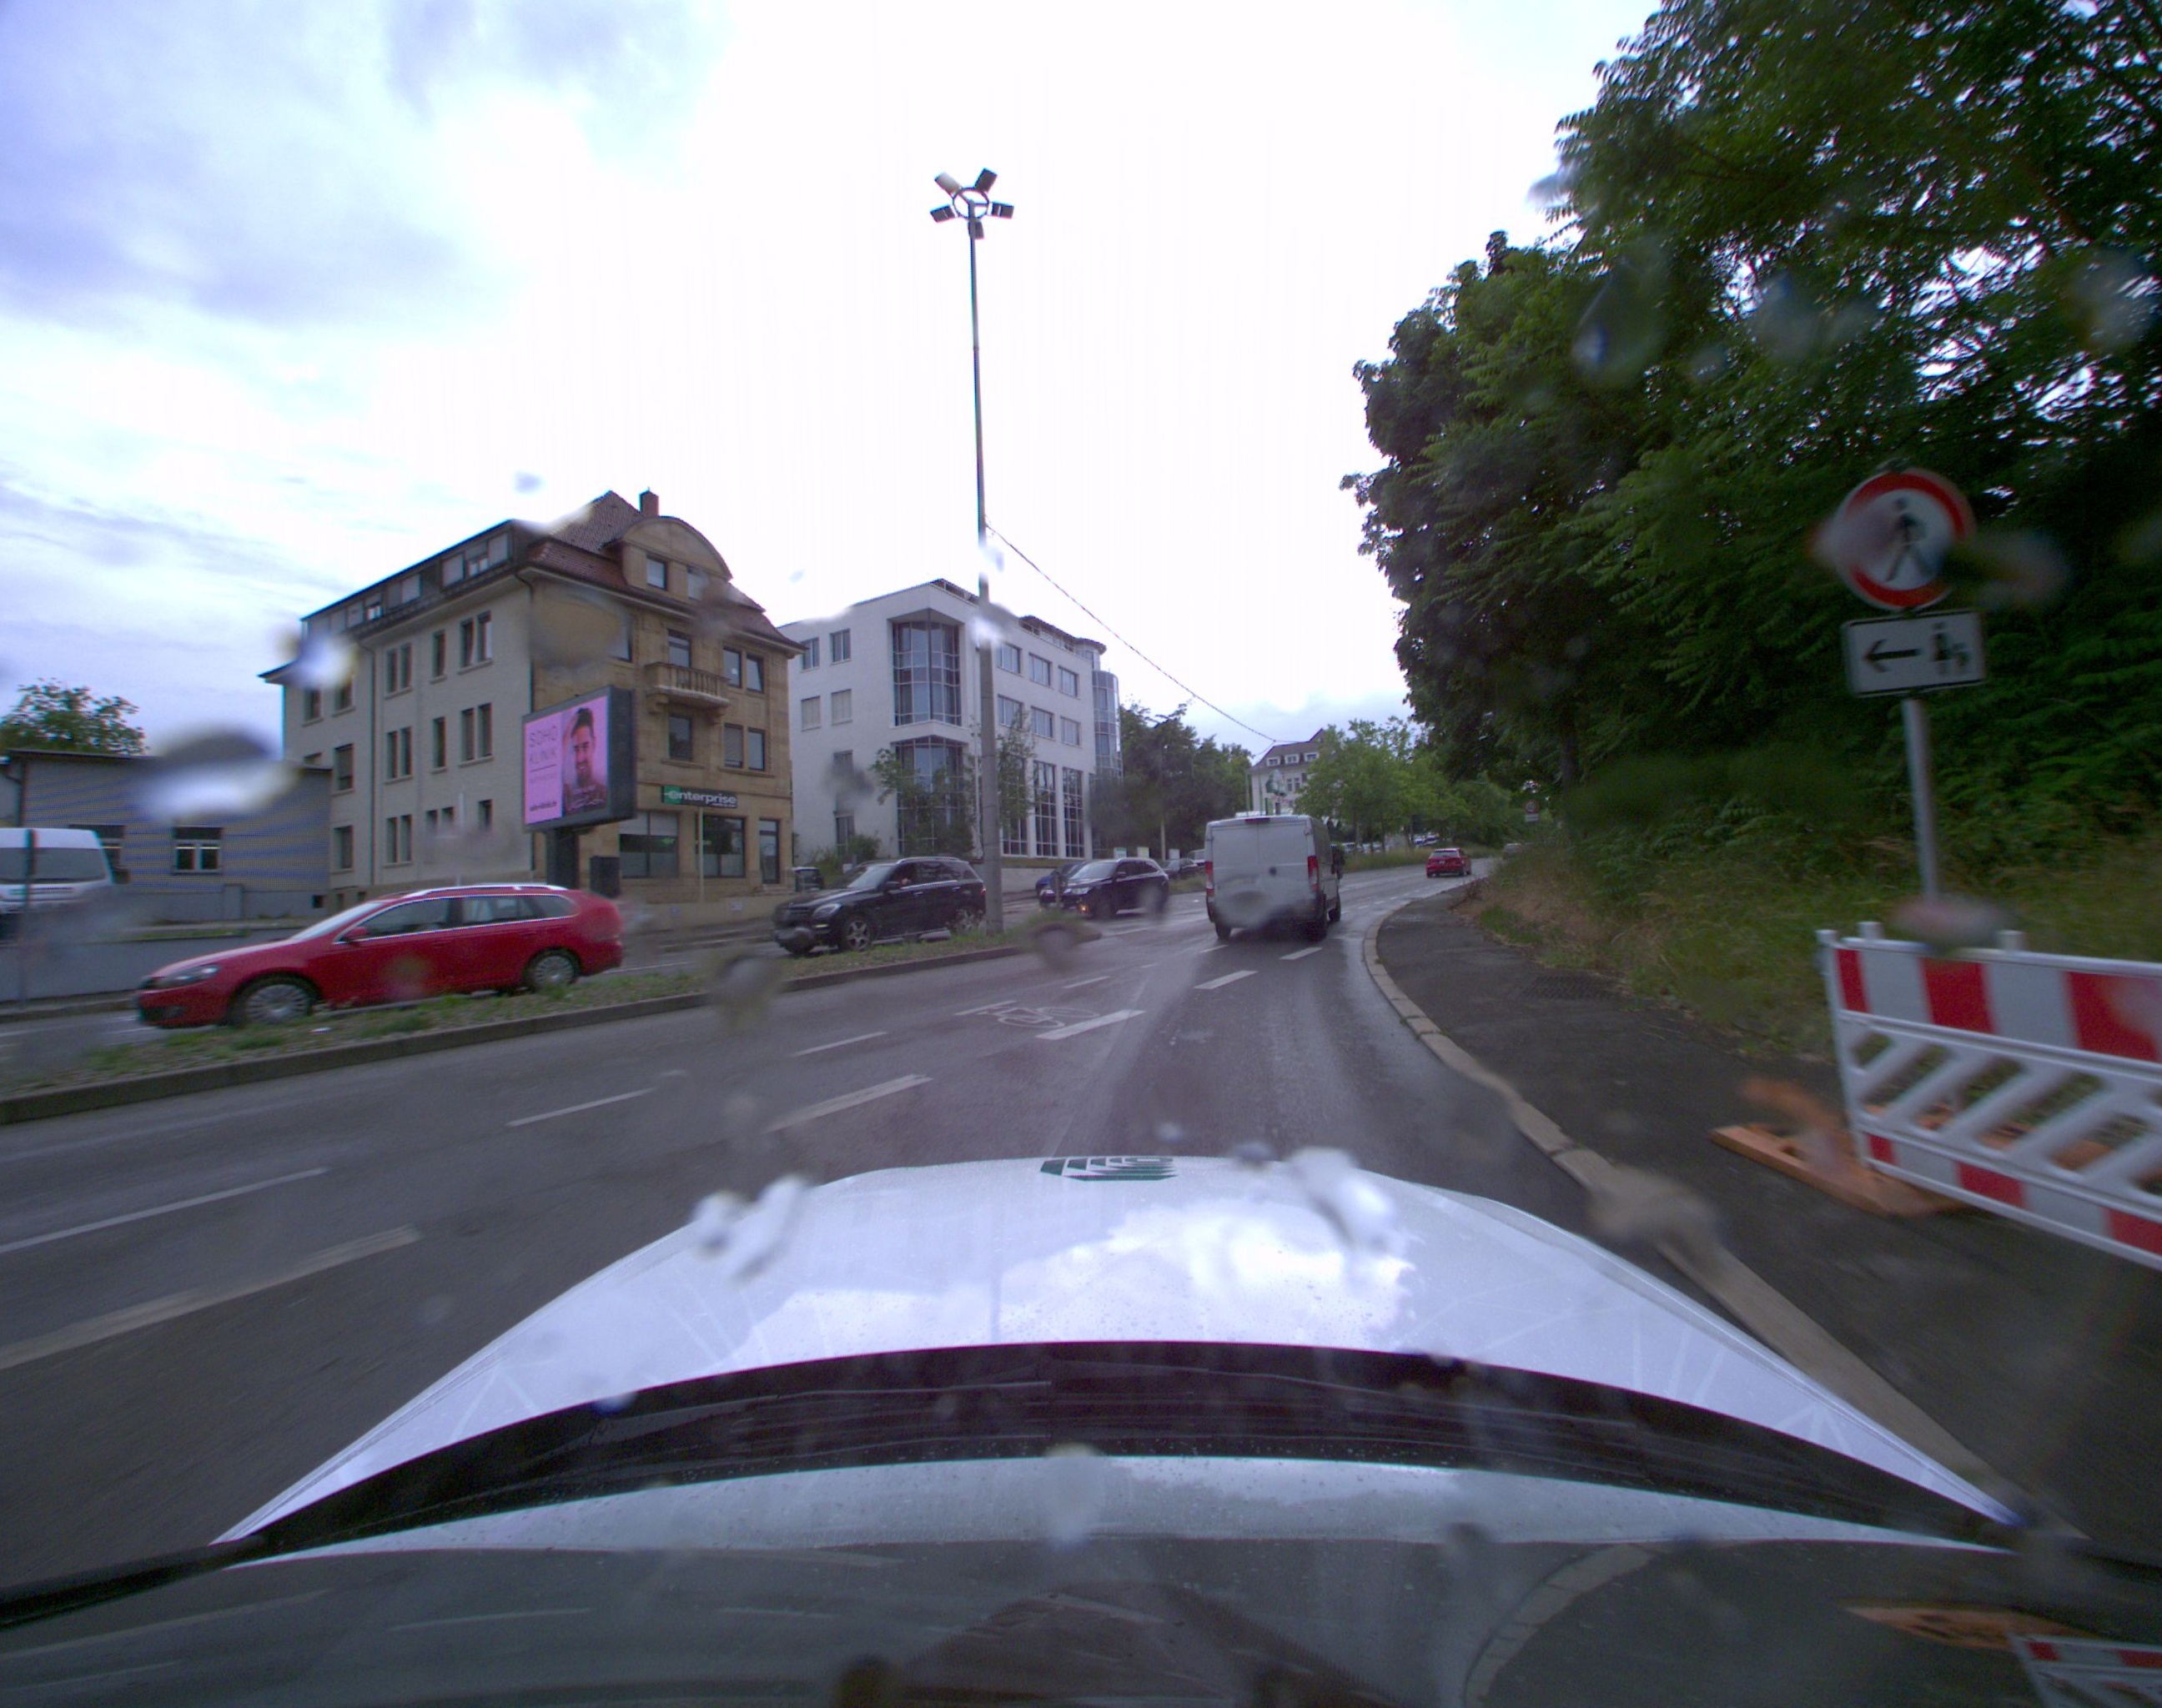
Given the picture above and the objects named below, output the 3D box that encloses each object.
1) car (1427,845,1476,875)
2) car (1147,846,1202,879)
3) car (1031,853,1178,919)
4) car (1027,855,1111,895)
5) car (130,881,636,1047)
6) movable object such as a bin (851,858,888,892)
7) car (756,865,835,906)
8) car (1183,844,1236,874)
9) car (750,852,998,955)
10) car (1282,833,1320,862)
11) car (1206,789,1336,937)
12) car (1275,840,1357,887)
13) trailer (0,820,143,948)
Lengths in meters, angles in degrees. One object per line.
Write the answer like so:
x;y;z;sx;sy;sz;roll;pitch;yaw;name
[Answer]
18.571;0.325;40.741;1.677;1.426;3.389;-3;-2;34;car
5.666;0.462;49.040;1.595;1.721;4.019;-5;-1;31;car
0.785;0.857;22.734;1.672;1.605;4.758;-5;-4;35;car
-0.490;0.972;39.034;1.672;1.534;4.702;-5;0;31;car
-8.304;1.173;10.185;1.788;1.531;4.469;-5;-3;33;car
-9.866;0.970;37.951;1.232;1.541;1.047;-3;-2;28;movable object such as a bin
-12.863;1.431;36.694;3.013;1.676;1.726;-4;-3;29;car
8.658;0.321;54.671;1.753;1.746;4.613;-5;-1;31;car
-3.984;0.911;16.498;1.935;1.697;4.655;-5;-2;35;car
20.589;-0.636;76.081;1.944;2.443;5.691;-5;0;29;car
4.018;0.180;16.537;2.033;2.516;4.967;-1;-1;19;car
10.601;0.383;36.465;1.995;1.867;5.074;-5;-1;34;car
-23.082;0.800;17.762;7.027;2.428;2.410;-4;-4;32;trailer
